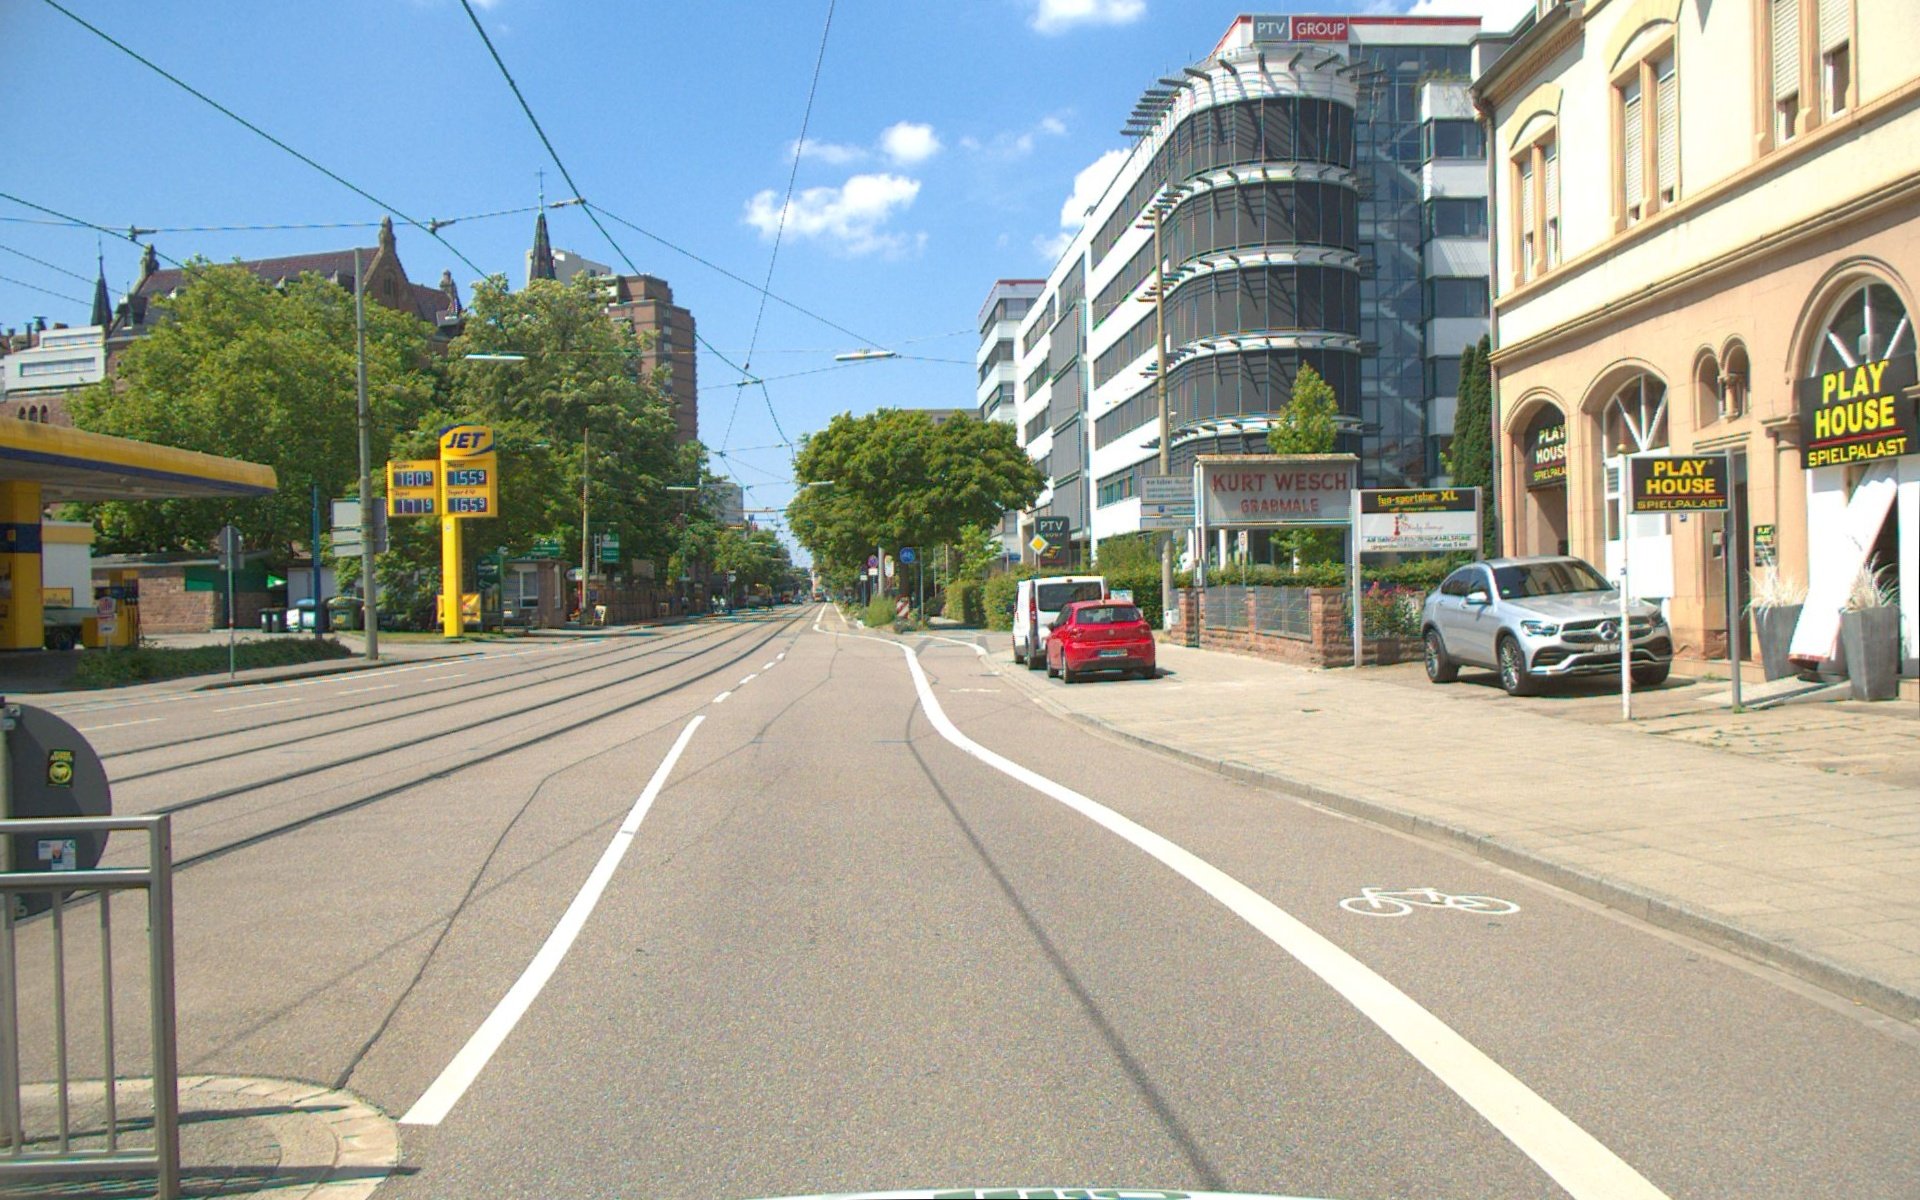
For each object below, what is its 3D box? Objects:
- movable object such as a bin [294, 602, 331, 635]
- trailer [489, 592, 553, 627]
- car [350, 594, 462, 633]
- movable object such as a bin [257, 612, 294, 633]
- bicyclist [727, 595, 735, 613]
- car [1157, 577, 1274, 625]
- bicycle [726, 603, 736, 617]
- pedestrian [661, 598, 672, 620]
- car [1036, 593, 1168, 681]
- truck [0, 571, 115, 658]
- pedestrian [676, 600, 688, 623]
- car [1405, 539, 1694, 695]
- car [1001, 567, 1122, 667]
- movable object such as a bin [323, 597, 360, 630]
[{"bbox_3d":[-28.249,0.804,72.166,1.315,1.378,0.759,-1,0,7],"label":"movable object such as a bin"},{"bbox_3d":[-21.861,0.466,82.446,2.774,1.733,1.620,-1,0,-4],"label":"trailer"},{"bbox_3d":[-24.406,0.564,72.981,1.962,1.618,4.312,-1,0,39],"label":"car"},{"bbox_3d":[-30.062,1.008,72.626,1.316,0.888,0.759,-1,0,15],"label":"movable object such as a bin"},{"bbox_3d":[-21.460,0.385,154.961,0.629,1.709,0.814,-1,0,-6],"label":"bicyclist"},{"bbox_3d":[8.444,0.026,54.867,3.530,1.476,1.757,-1,0,-5],"label":"car"},{"bbox_3d":[-21.444,0.946,154.860,0.687,1.225,2.238,-3,0,-5],"label":"bicycle"},{"bbox_3d":[-23.547,0.727,132.762,0.728,1.758,0.866,-1,0,-5],"label":"pedestrian"},{"bbox_3d":[2.618,0.649,31.416,1.954,1.467,4.015,-2,0,-3],"label":"car"},{"bbox_3d":[-28.669,0.439,50.270,1.954,2.542,5.199,-1,0,26],"label":"truck"},{"bbox_3d":[-21.606,0.882,128.451,0.799,1.801,0.923,-1,0,-5],"label":"pedestrian"},{"bbox_3d":[7.347,0.185,21.183,1.840,1.652,4.638,-4,0,-2],"label":"car"},{"bbox_3d":[2.236,0.355,38.084,1.955,2.026,5.509,-3,0,-4],"label":"car"},{"bbox_3d":[-26.707,0.587,71.404,1.318,1.378,0.757,-1,0,-7],"label":"movable object such as a bin"}]
